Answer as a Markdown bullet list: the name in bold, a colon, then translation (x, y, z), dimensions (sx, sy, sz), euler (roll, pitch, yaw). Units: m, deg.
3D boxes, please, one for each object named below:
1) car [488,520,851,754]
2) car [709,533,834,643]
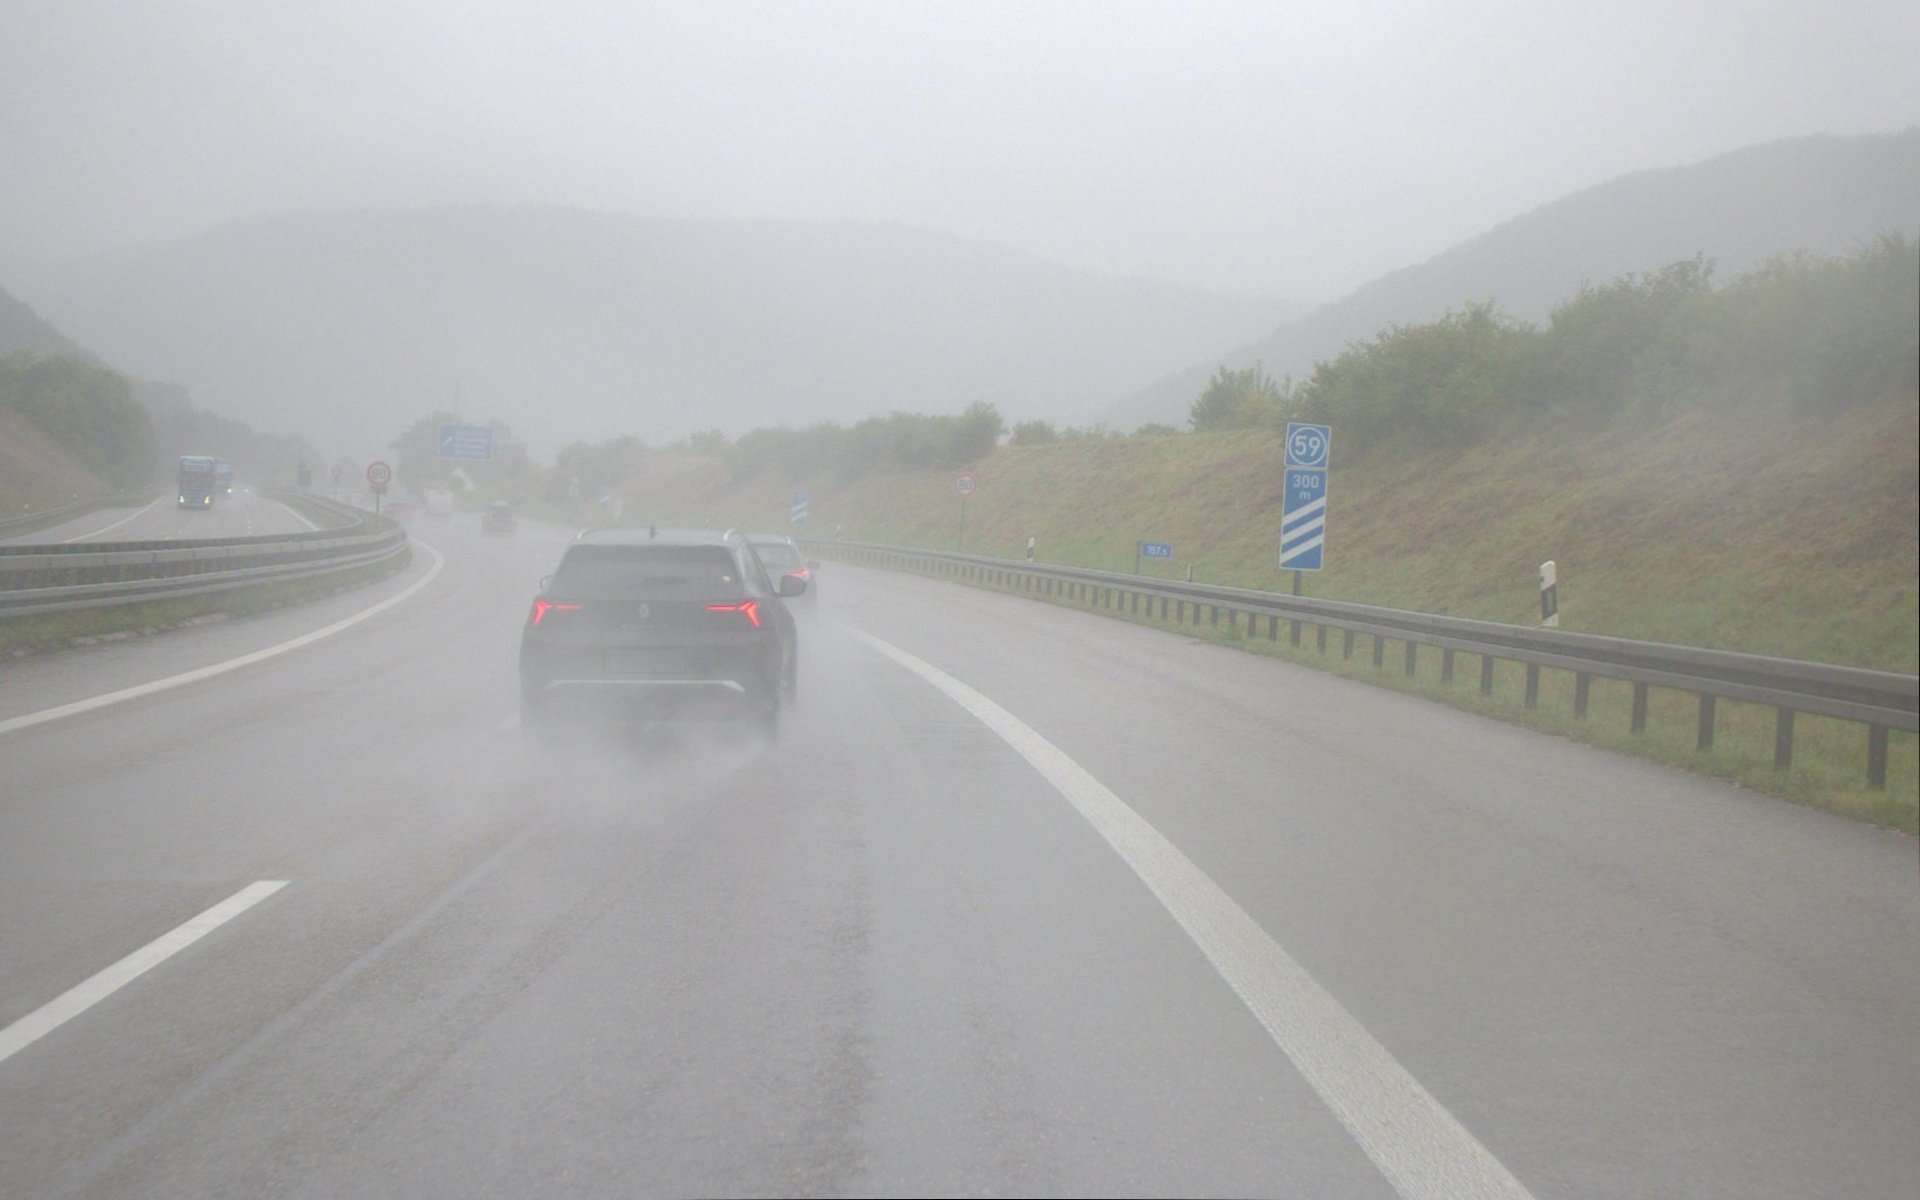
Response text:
- **car**: translation (-2.146, 0.235, 25.755), dimensions (2.405, 1.510, 4.785), euler (2, 0, -4)
- **car**: translation (-2.693, -0.183, 49.850), dimensions (1.679, 1.467, 3.815), euler (2, 0, -2)
